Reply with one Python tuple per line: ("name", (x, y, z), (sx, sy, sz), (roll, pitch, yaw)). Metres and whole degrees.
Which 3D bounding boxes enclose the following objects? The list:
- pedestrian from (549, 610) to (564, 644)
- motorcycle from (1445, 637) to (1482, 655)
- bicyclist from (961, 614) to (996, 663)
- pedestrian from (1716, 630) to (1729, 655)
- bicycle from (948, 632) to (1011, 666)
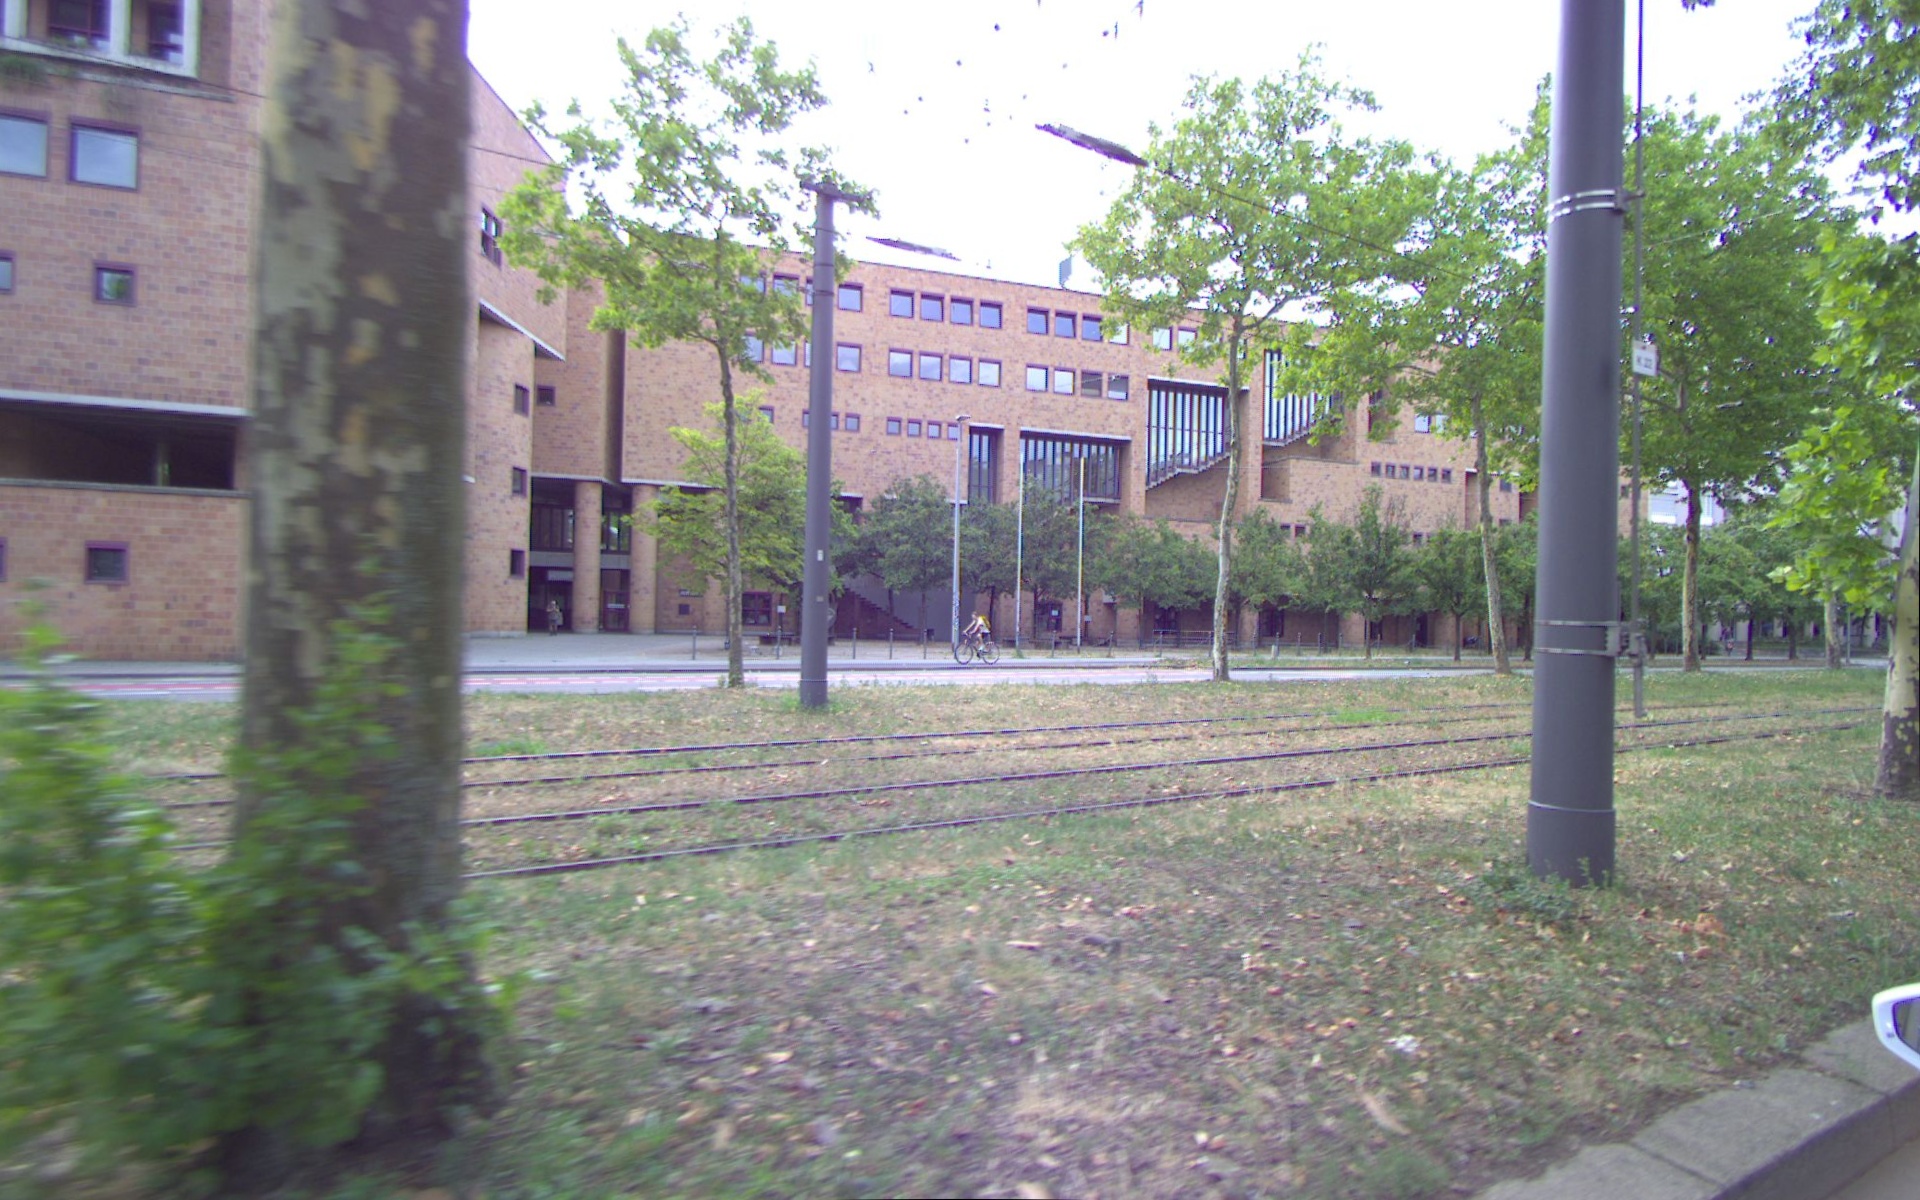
("pedestrian", (-18.349, 1.224, 45.688), (0.511, 1.552, 0.507), (1, -1, -15))
("motorcycle", (35.115, 3.196, 70.074), (2.162, 1.207, 0.794), (1, -1, 38))
("bicyclist", (0.635, 1.304, 34.112), (0.971, 1.612, 0.661), (2, -1, -27))
("pedestrian", (55.117, 3.064, 72.598), (0.618, 1.727, 0.551), (2, -1, -25))
("bicycle", (0.674, 1.674, 34.132), (2.066, 1.098, 0.665), (2, -1, -27))
